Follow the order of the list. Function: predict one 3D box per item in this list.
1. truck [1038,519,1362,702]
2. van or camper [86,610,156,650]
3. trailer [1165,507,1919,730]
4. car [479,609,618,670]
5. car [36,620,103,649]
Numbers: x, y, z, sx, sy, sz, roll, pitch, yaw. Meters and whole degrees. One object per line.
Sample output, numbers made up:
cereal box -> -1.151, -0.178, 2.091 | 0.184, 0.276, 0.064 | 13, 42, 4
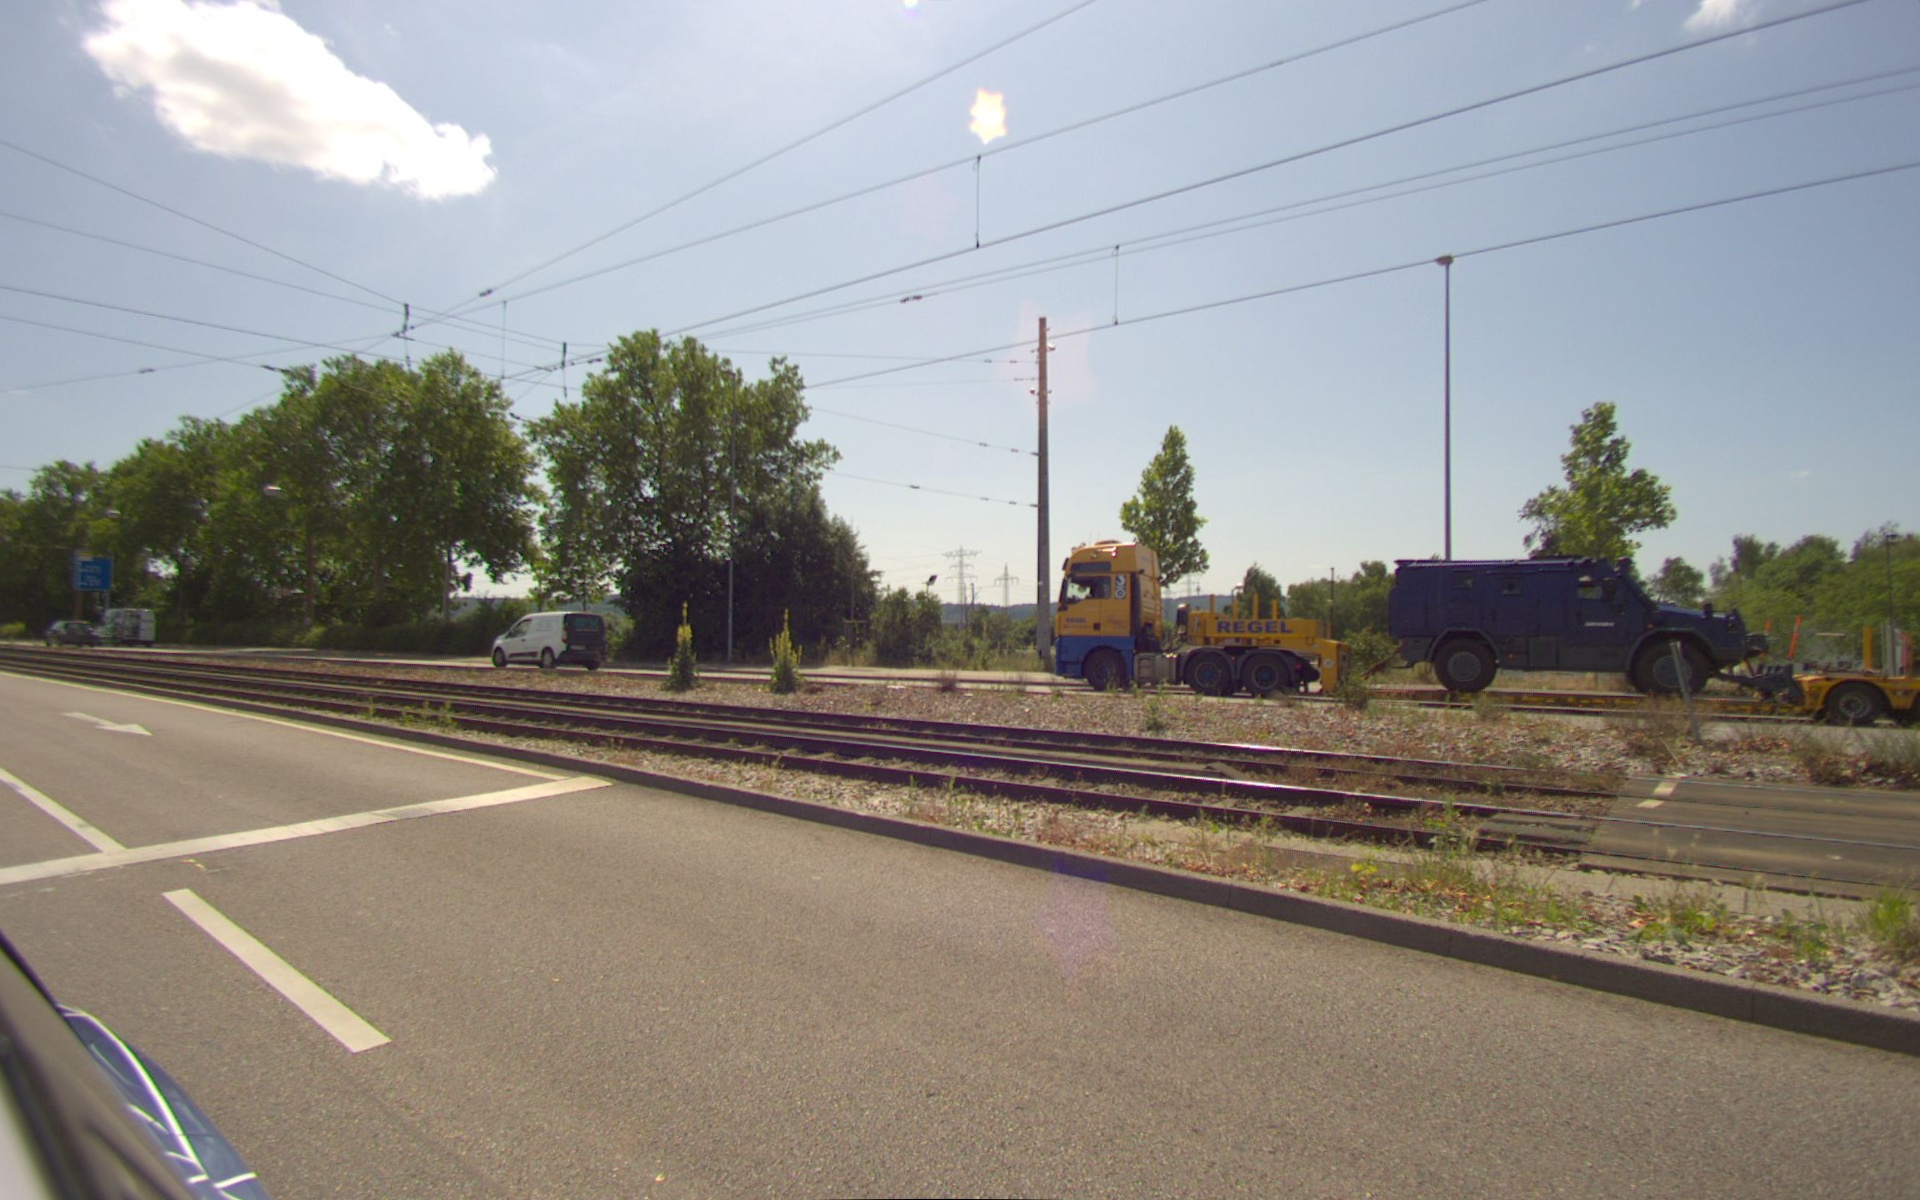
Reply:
truck -> 6.008, 0.297, 25.608 | 7.439, 4.069, 3.106 | -1, -1, 28
van or camper -> -56.063, 1.989, 67.562 | 5.829, 2.606, 1.977 | -1, -3, 34
trailer -> 12.418, 0.425, 22.028 | 15.416, 3.900, 3.094 | -1, -1, 29
car -> -13.224, 1.297, 32.478 | 4.419, 1.852, 1.978 | -3, -3, 33
car -> -54.747, 2.119, 62.196 | 4.253, 1.649, 1.977 | -1, -4, 33
